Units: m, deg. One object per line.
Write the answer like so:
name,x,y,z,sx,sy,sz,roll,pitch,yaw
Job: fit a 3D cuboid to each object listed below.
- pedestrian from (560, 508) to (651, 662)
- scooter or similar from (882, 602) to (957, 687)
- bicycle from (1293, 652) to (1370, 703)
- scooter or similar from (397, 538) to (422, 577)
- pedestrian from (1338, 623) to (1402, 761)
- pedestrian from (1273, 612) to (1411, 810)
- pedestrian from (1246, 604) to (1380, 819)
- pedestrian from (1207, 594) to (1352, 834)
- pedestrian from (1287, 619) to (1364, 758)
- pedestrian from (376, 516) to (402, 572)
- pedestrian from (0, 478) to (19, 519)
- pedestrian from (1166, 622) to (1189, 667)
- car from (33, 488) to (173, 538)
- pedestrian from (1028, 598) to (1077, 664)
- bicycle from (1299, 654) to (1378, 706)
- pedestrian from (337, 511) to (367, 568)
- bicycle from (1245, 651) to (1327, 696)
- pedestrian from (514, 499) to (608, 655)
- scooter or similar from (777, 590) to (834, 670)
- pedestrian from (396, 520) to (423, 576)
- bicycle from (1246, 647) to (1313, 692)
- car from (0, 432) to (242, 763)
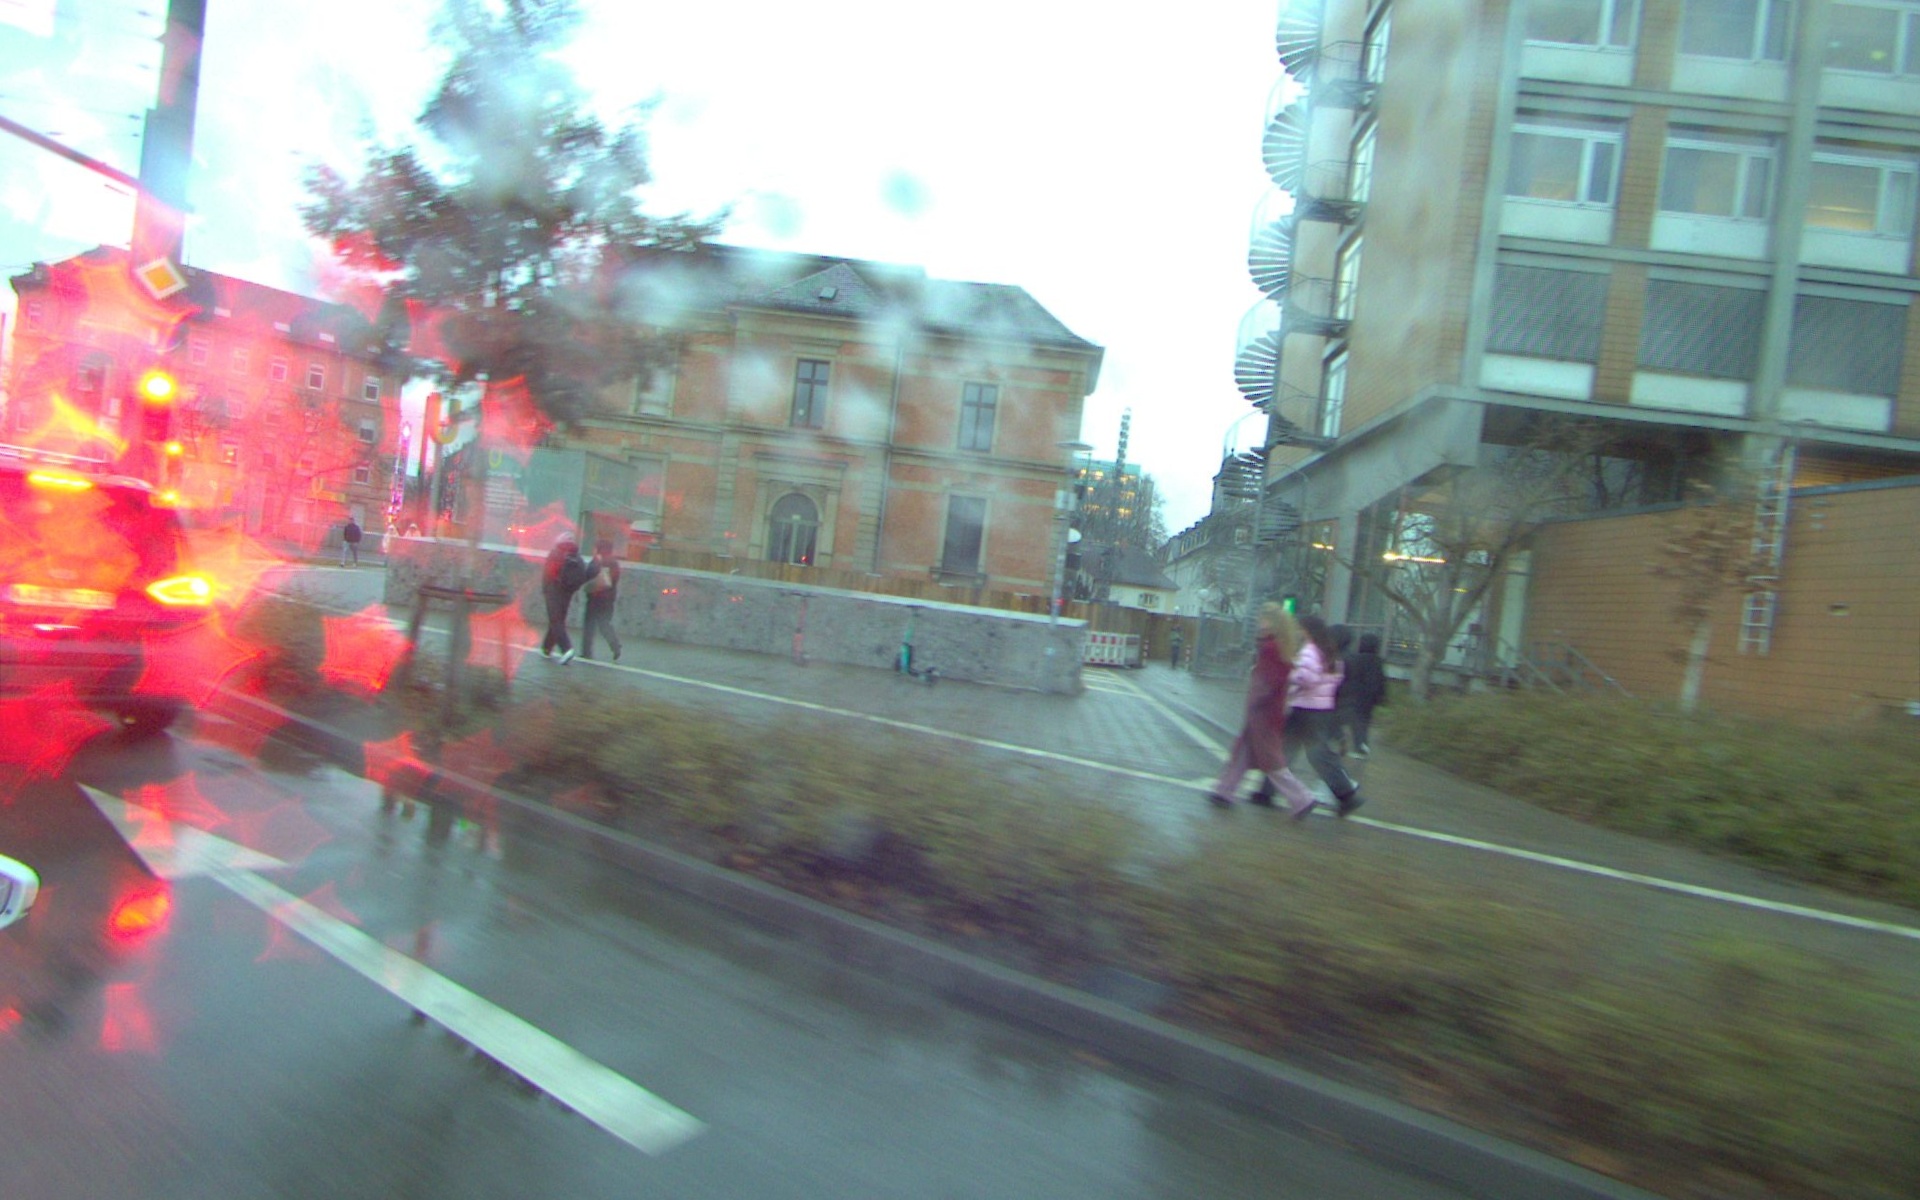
pedestrian,-5.045,-0.223,14.292,0.802,2.038,0.753,8,2,-33
scooter or similar,-0.670,0.705,16.328,0.509,1.229,1.372,6,0,-31
bicycle,9.876,2.056,26.795,1.761,1.116,0.442,7,1,7
scooter or similar,-20.054,-1.553,36.631,0.671,1.334,0.820,6,1,-30
pedestrian,5.684,1.261,13.976,0.549,1.813,0.584,7,1,14
pedestrian,3.560,1.023,9.398,0.713,1.709,0.753,6,1,-34
pedestrian,3.002,0.935,8.573,0.662,1.710,0.606,4,4,-33
pedestrian,2.569,0.893,8.137,0.579,1.804,0.762,4,2,-33
pedestrian,5.108,1.213,14.103,0.735,1.813,0.854,7,1,14
pedestrian,-20.988,-2.043,36.969,0.671,1.974,0.656,6,1,-30
pedestrian,-51.058,-5.436,53.673,0.774,2.039,0.731,6,1,3
pedestrian,8.463,1.716,39.176,0.651,1.678,0.789,7,1,7
car,-41.653,-4.186,49.034,1.710,1.677,4.808,7,0,28
pedestrian,2.608,0.879,28.308,0.907,1.726,0.796,6,1,-27
bicycle,9.822,2.082,26.152,1.761,1.116,0.401,7,1,7
pedestrian,-22.051,-2.175,36.496,0.669,1.974,0.673,6,1,-21
bicycle,9.287,2.084,28.730,2.021,1.004,0.708,7,1,7
pedestrian,-5.390,-0.312,13.582,0.802,1.954,0.753,8,2,-33
scooter or similar,-2.614,0.482,16.919,0.507,1.229,1.376,6,0,-22
pedestrian,-20.399,-1.912,37.273,0.671,1.974,0.656,6,1,-30
bicycle,9.464,2.051,29.793,1.764,1.116,0.390,7,1,-6
car,-6.961,-0.212,6.916,4.354,1.822,1.779,7,0,34
